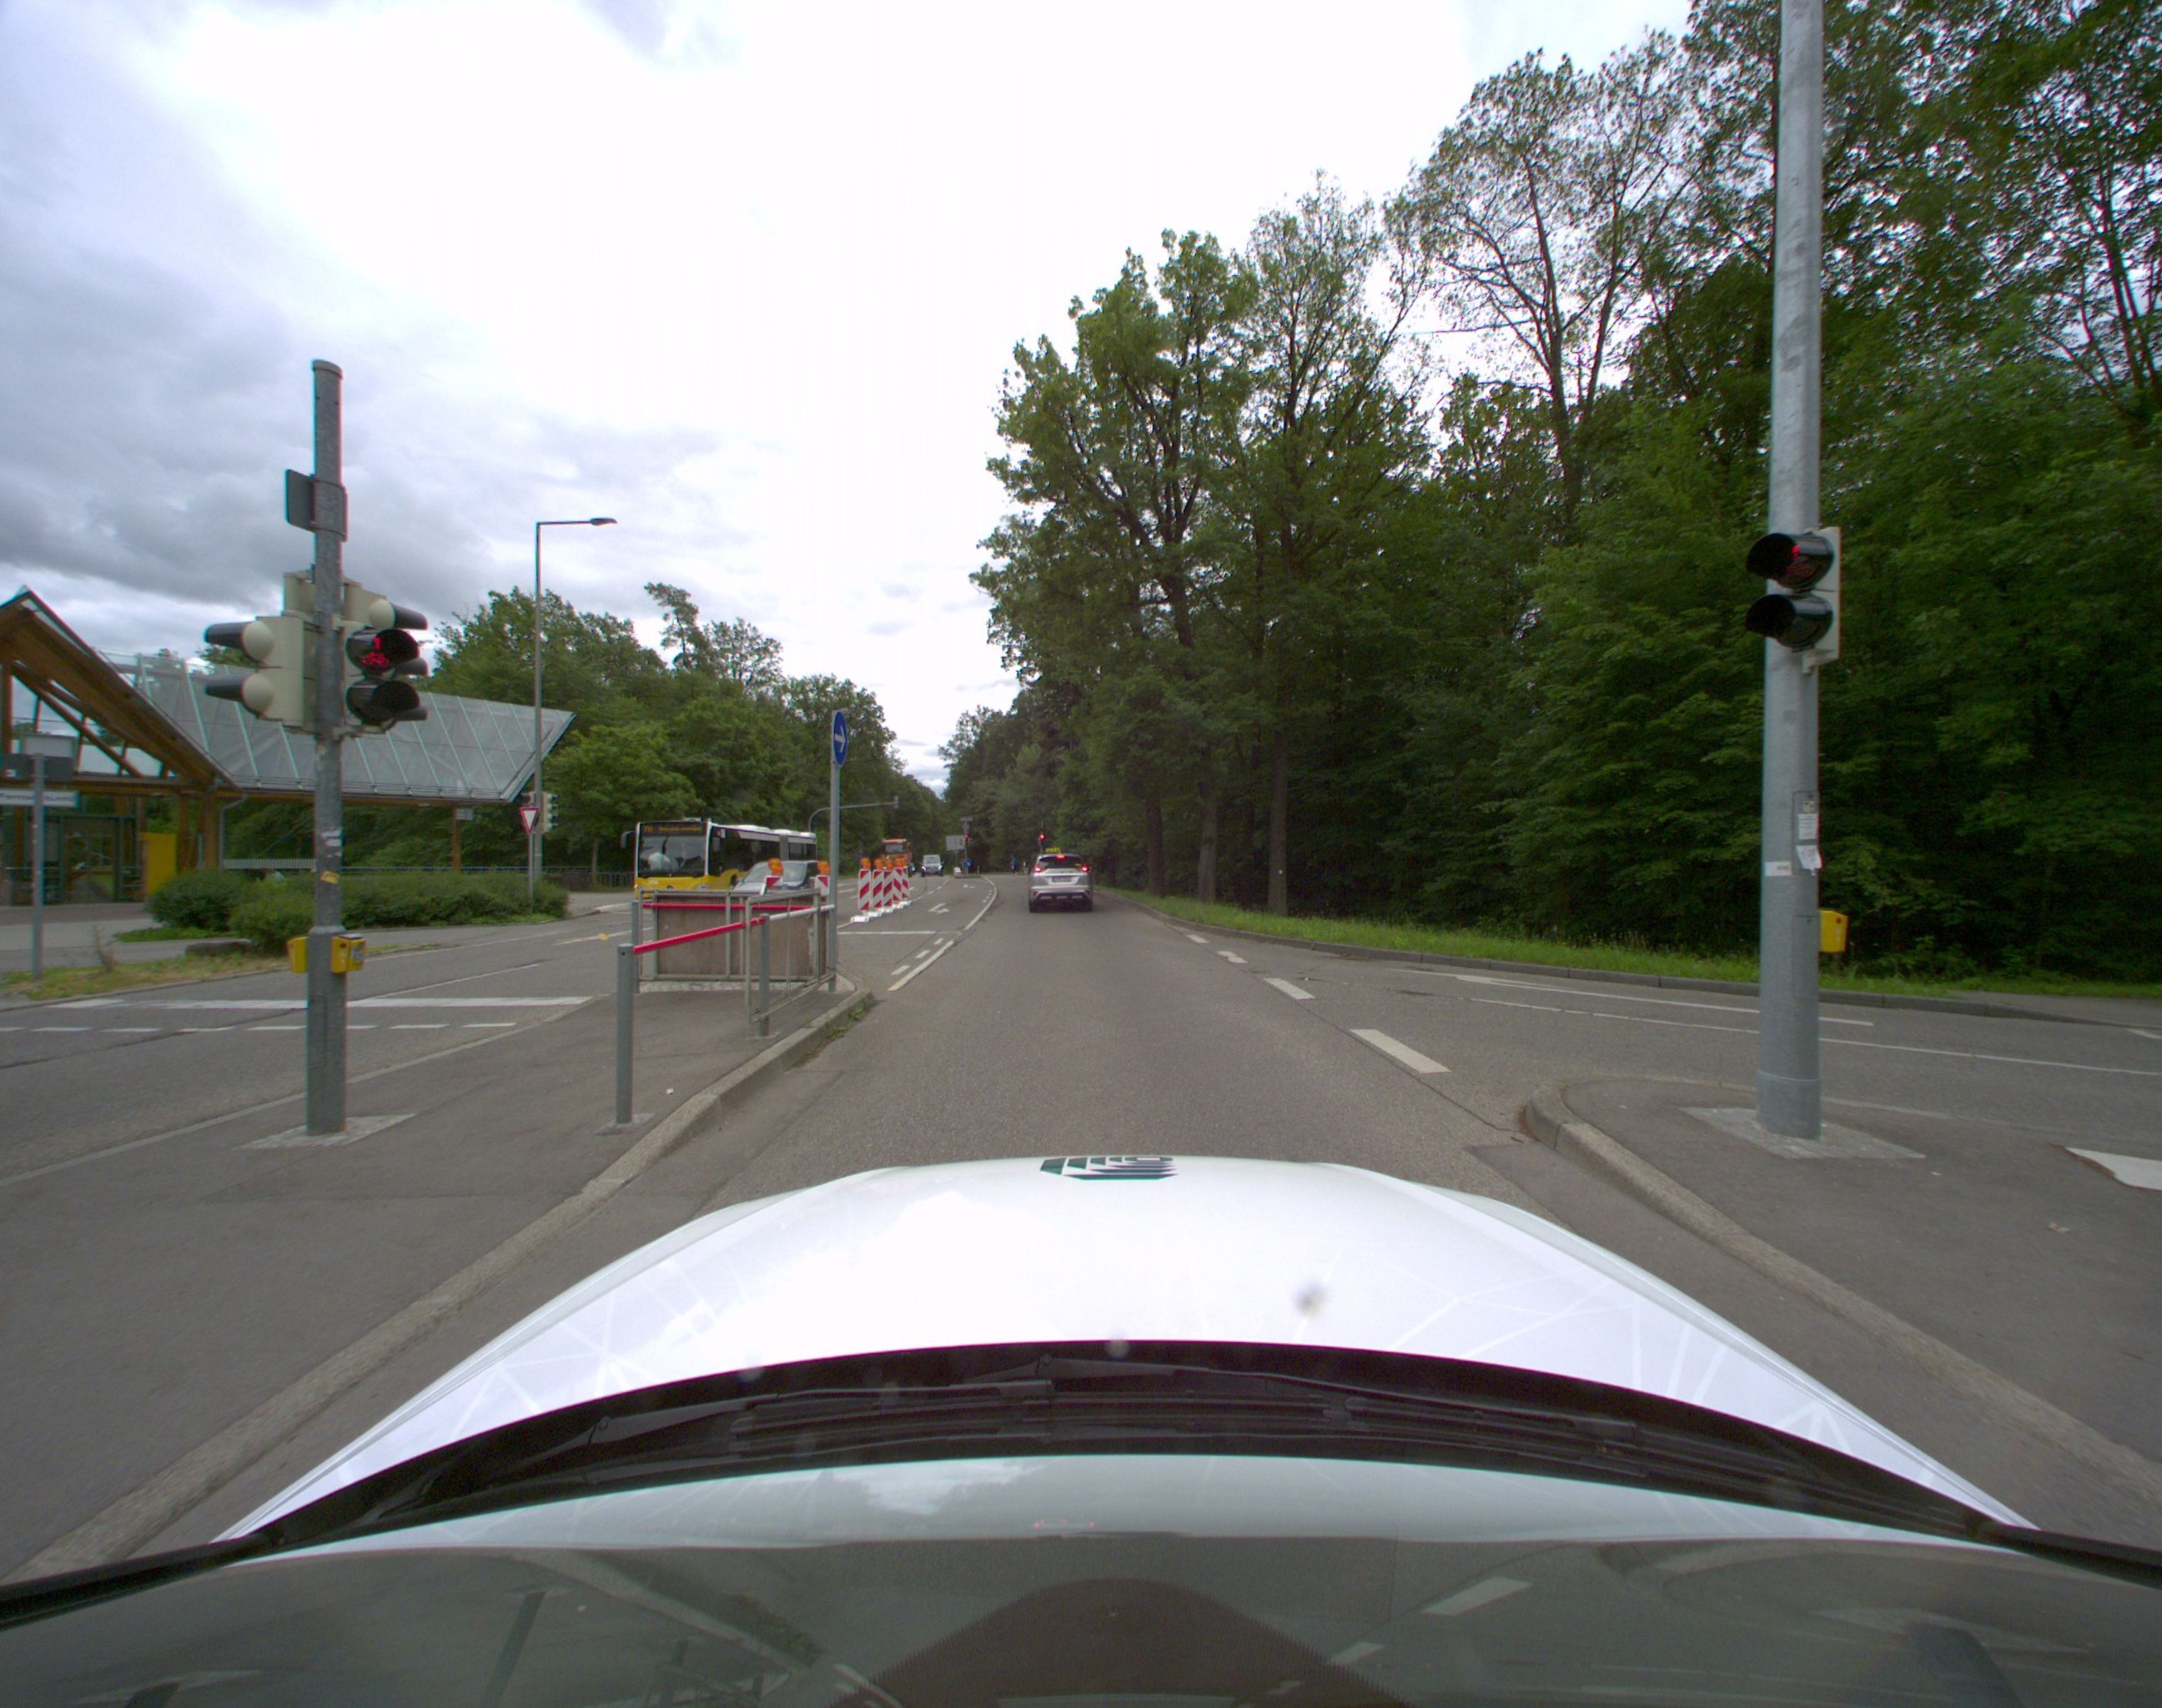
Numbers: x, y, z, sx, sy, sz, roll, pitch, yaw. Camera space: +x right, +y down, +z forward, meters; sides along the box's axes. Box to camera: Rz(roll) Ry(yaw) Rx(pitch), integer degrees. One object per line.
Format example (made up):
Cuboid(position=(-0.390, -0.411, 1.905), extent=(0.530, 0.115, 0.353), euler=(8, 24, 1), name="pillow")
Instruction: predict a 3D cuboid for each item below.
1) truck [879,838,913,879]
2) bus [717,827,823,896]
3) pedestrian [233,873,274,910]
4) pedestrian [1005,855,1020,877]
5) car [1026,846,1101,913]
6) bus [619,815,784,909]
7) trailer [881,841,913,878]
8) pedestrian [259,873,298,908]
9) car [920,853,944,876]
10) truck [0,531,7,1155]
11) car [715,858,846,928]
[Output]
Cuboid(position=(-16.345, 0.464, 72.310), extent=(2.741, 3.318, 7.129), euler=(-2, -1, -12), name="truck")
Cuboid(position=(-15.469, 0.381, 41.251), extent=(2.896, 3.127, 8.673), euler=(0, -1, -7), name="bus")
Cuboid(position=(-23.157, 1.043, 22.798), extent=(0.543, 0.984, 0.568), euler=(1, 0, 12), name="pedestrian")
Cuboid(position=(-5.338, 0.923, 63.551), extent=(1.045, 1.649, 1.068), euler=(-1, 0, -4), name="pedestrian")
Cuboid(position=(-0.431, 0.684, 23.969), extent=(1.838, 1.780, 4.004), euler=(-1, 0, 4), name="car")
Cuboid(position=(-14.442, 0.311, 32.093), extent=(2.896, 3.127, 9.736), euler=(0, 0, -7), name="bus")
Cuboid(position=(-17.561, 0.624, 78.169), extent=(2.741, 3.318, 8.533), euler=(-2, -1, -12), name="trailer")
Cuboid(position=(-23.083, 1.042, 23.426), extent=(0.552, 0.984, 0.568), euler=(1, 0, 11), name="pedestrian")
Cuboid(position=(-13.367, 0.976, 72.988), extent=(1.994, 1.893, 4.821), euler=(-2, -1, -11), name="car")
Cuboid(position=(-6.893, -0.056, 1.103), extent=(2.621, 3.238, 6.204), euler=(-1, 0, -1), name="truck")
Cuboid(position=(-7.273, 0.905, 20.210), extent=(1.804, 1.509, 4.303), euler=(-1, -1, -3), name="car")
